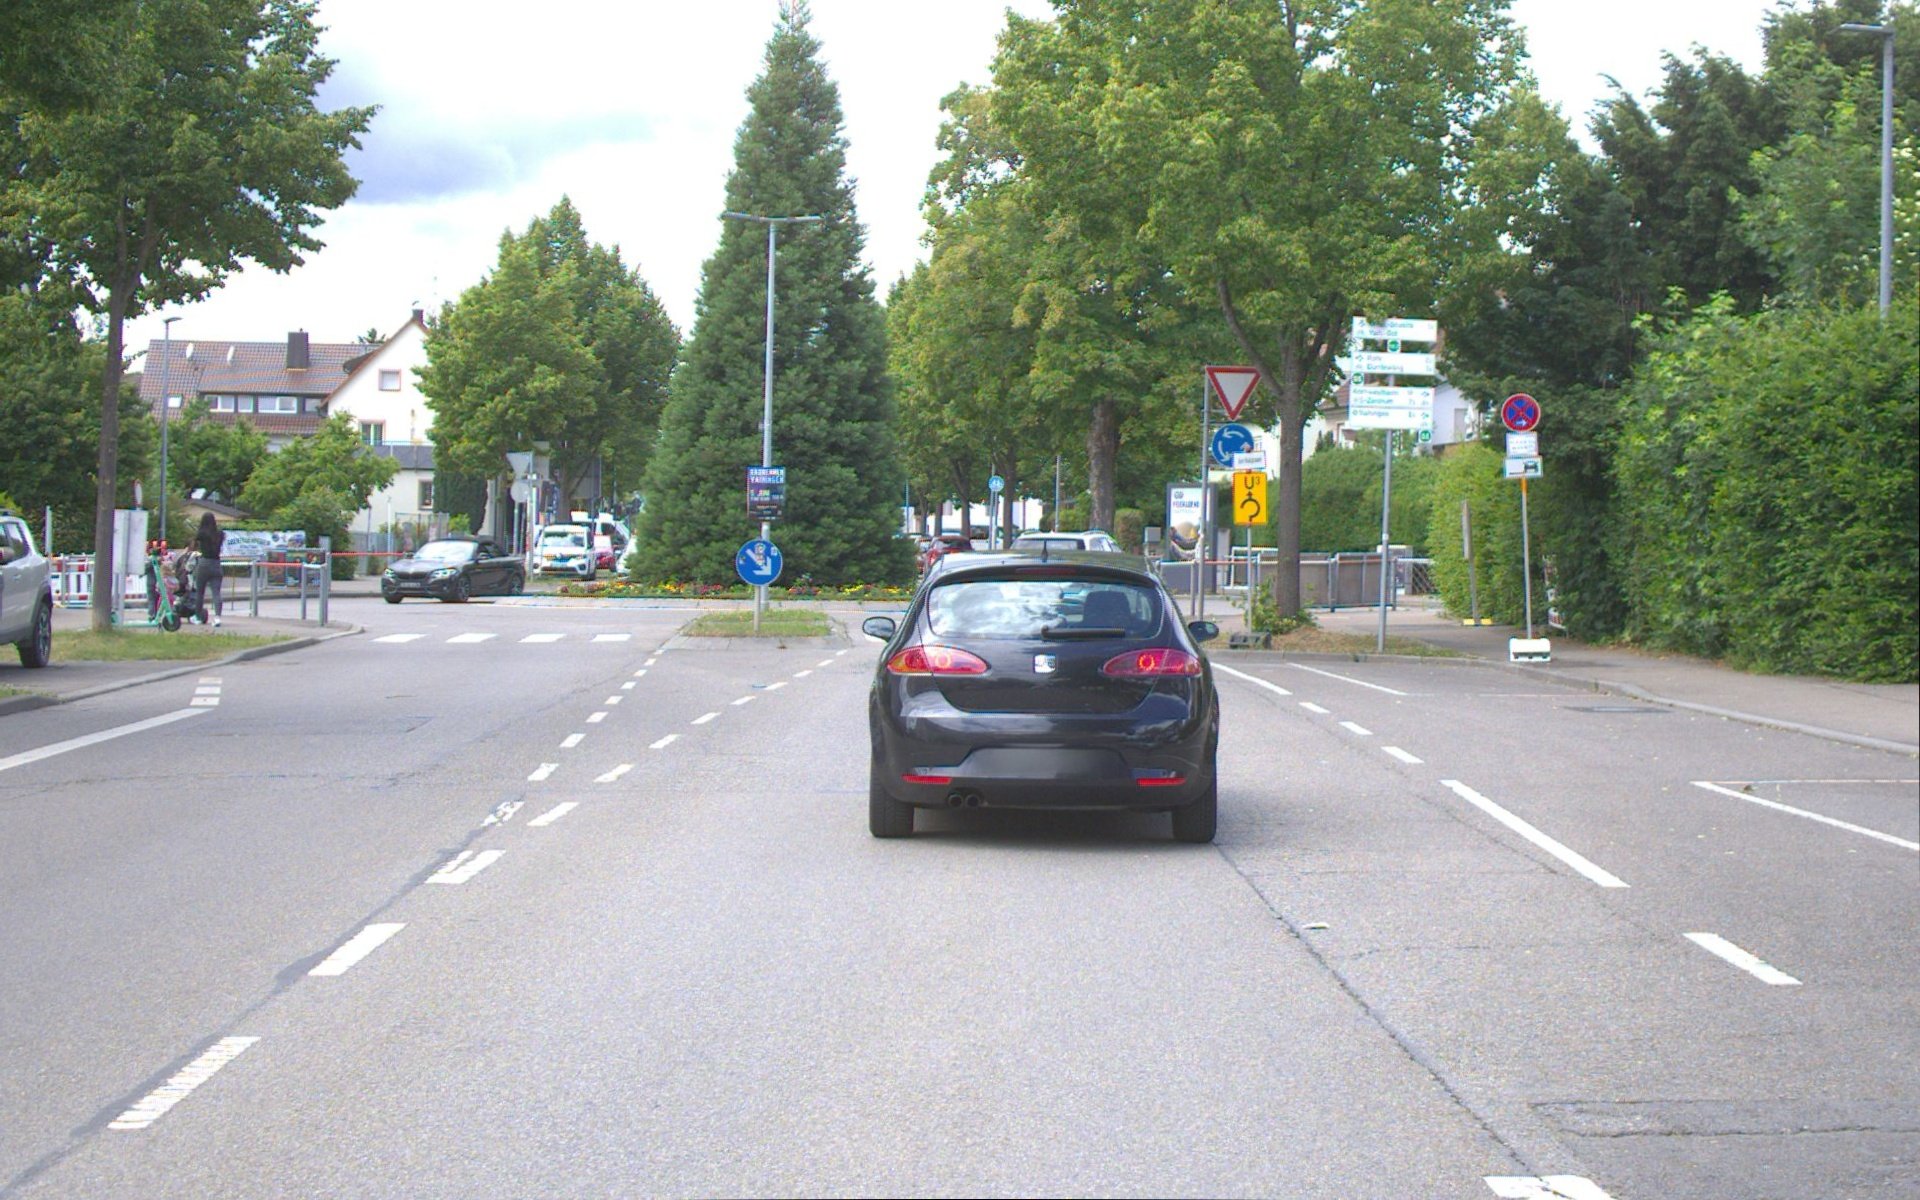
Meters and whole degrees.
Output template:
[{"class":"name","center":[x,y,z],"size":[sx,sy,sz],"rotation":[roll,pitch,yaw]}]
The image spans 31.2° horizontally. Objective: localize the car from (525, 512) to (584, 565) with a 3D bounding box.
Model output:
[{"class":"car","center":[-15.332,-2.344,130.128],"size":[2.029,1.964,4.001],"rotation":[0,1,-4]}]

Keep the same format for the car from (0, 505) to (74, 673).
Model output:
[{"class":"car","center":[-10.353,-0.142,34.559],"size":[1.860,1.648,4.295],"rotation":[1,1,-1]}]

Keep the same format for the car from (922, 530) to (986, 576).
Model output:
[{"class":"car","center":[-0.216,-1.576,113.757],"size":[1.474,1.484,3.383],"rotation":[0,1,-11]}]

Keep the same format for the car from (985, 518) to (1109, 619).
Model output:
[{"class":"car","center":[1.442,-0.551,58.085],"size":[1.993,1.607,4.000],"rotation":[1,1,1]}]

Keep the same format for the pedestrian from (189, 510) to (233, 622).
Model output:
[{"class":"pedestrian","center":[-11.128,-0.509,51.069],"size":[0.481,1.664,0.516],"rotation":[0,1,-35]}]

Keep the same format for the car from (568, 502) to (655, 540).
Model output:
[{"class":"car","center":[-17.954,-4.085,177.180],"size":[3.990,1.964,2.035],"rotation":[1,1,18]}]

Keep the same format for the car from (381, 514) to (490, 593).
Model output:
[{"class":"car","center":[-11.189,-1.015,73.490],"size":[1.568,1.628,3.622],"rotation":[0,1,3]}]

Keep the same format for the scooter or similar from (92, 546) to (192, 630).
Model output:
[{"class":"scooter or similar","center":[-11.192,-0.170,47.057],"size":[1.284,1.135,0.347],"rotation":[0,1,-32]}]

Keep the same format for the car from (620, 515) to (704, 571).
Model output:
[{"class":"car","center":[-8.573,-1.648,99.164],"size":[1.869,1.555,4.259],"rotation":[0,1,3]}]

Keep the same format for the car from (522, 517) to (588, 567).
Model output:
[{"class":"car","center":[-13.177,-1.894,111.996],"size":[1.797,1.596,4.001],"rotation":[0,1,-2]}]

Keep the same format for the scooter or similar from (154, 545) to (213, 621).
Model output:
[{"class":"scooter or similar","center":[-11.674,-0.251,51.658],"size":[0.406,1.092,0.969],"rotation":[2,1,-41]}]

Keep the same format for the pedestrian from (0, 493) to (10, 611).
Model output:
[{"class":"pedestrian","center":[-14.757,-0.730,52.018],"size":[0.561,1.778,0.540],"rotation":[0,1,-41]}]

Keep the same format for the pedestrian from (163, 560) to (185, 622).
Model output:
[{"class":"pedestrian","center":[-11.380,-0.130,49.770],"size":[0.238,0.891,0.259],"rotation":[0,1,-30]}]

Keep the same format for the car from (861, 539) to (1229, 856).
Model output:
[{"class":"car","center":[0.459,0.428,18.272],"size":[1.732,1.481,4.000],"rotation":[0,1,2]}]
